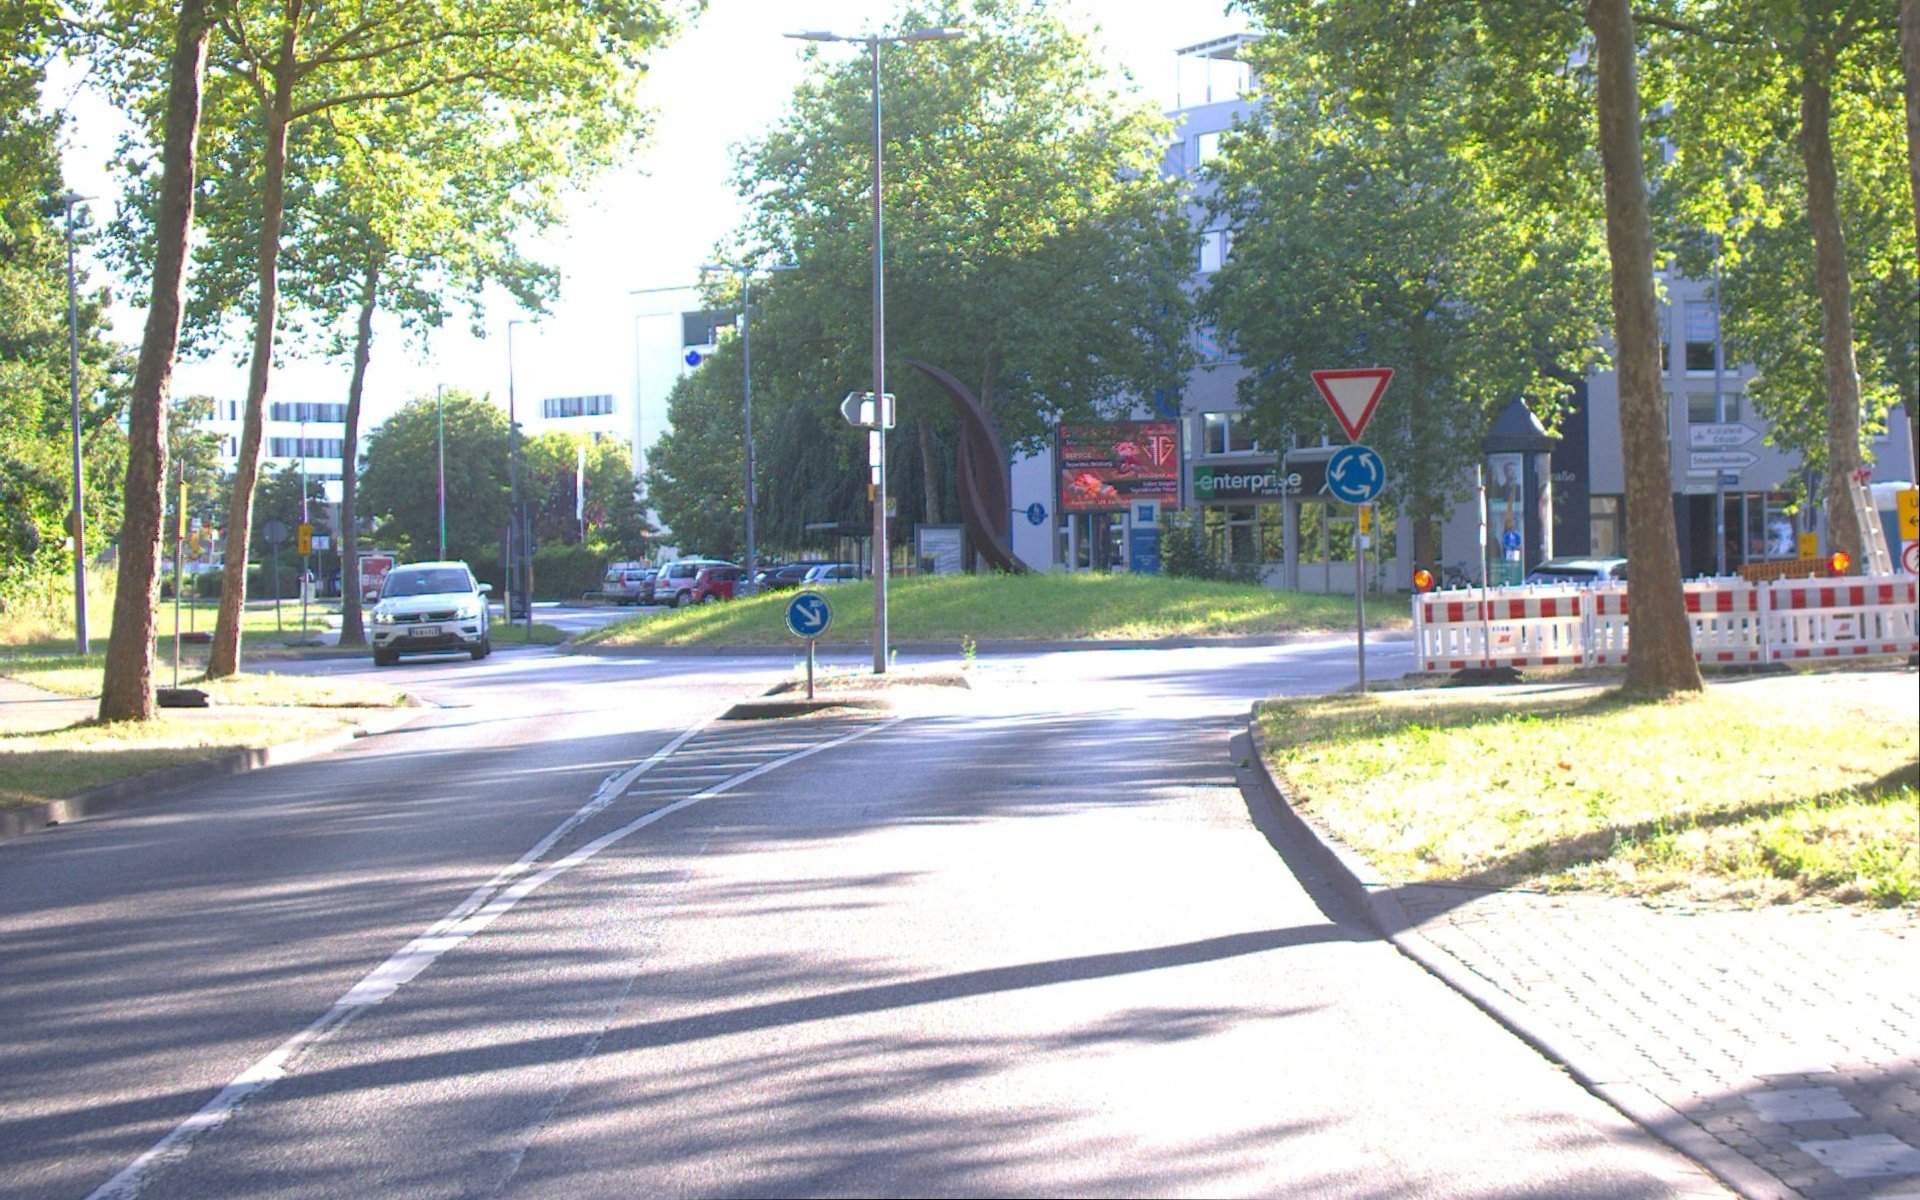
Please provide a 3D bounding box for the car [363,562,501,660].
[{"bbox_3d":[-8.835,0.159,57.803,1.993,1.573,4.001,-1,1,-4],"label":"car"}]

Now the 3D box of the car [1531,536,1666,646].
[{"bbox_3d":[9.839,-0.154,52.792,1.840,1.600,3.860,-1,0,13],"label":"car"}]

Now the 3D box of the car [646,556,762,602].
[{"bbox_3d":[-9.693,-0.792,130.114,3.987,1.741,1.795,0,1,-30],"label":"car"}]

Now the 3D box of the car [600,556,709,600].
[{"bbox_3d":[-12.291,-0.890,138.260,3.987,1.741,1.795,0,1,-30],"label":"car"}]

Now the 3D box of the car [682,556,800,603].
[{"bbox_3d":[-8.130,-0.760,127.530,3.987,1.741,1.795,0,1,-30],"label":"car"}]
